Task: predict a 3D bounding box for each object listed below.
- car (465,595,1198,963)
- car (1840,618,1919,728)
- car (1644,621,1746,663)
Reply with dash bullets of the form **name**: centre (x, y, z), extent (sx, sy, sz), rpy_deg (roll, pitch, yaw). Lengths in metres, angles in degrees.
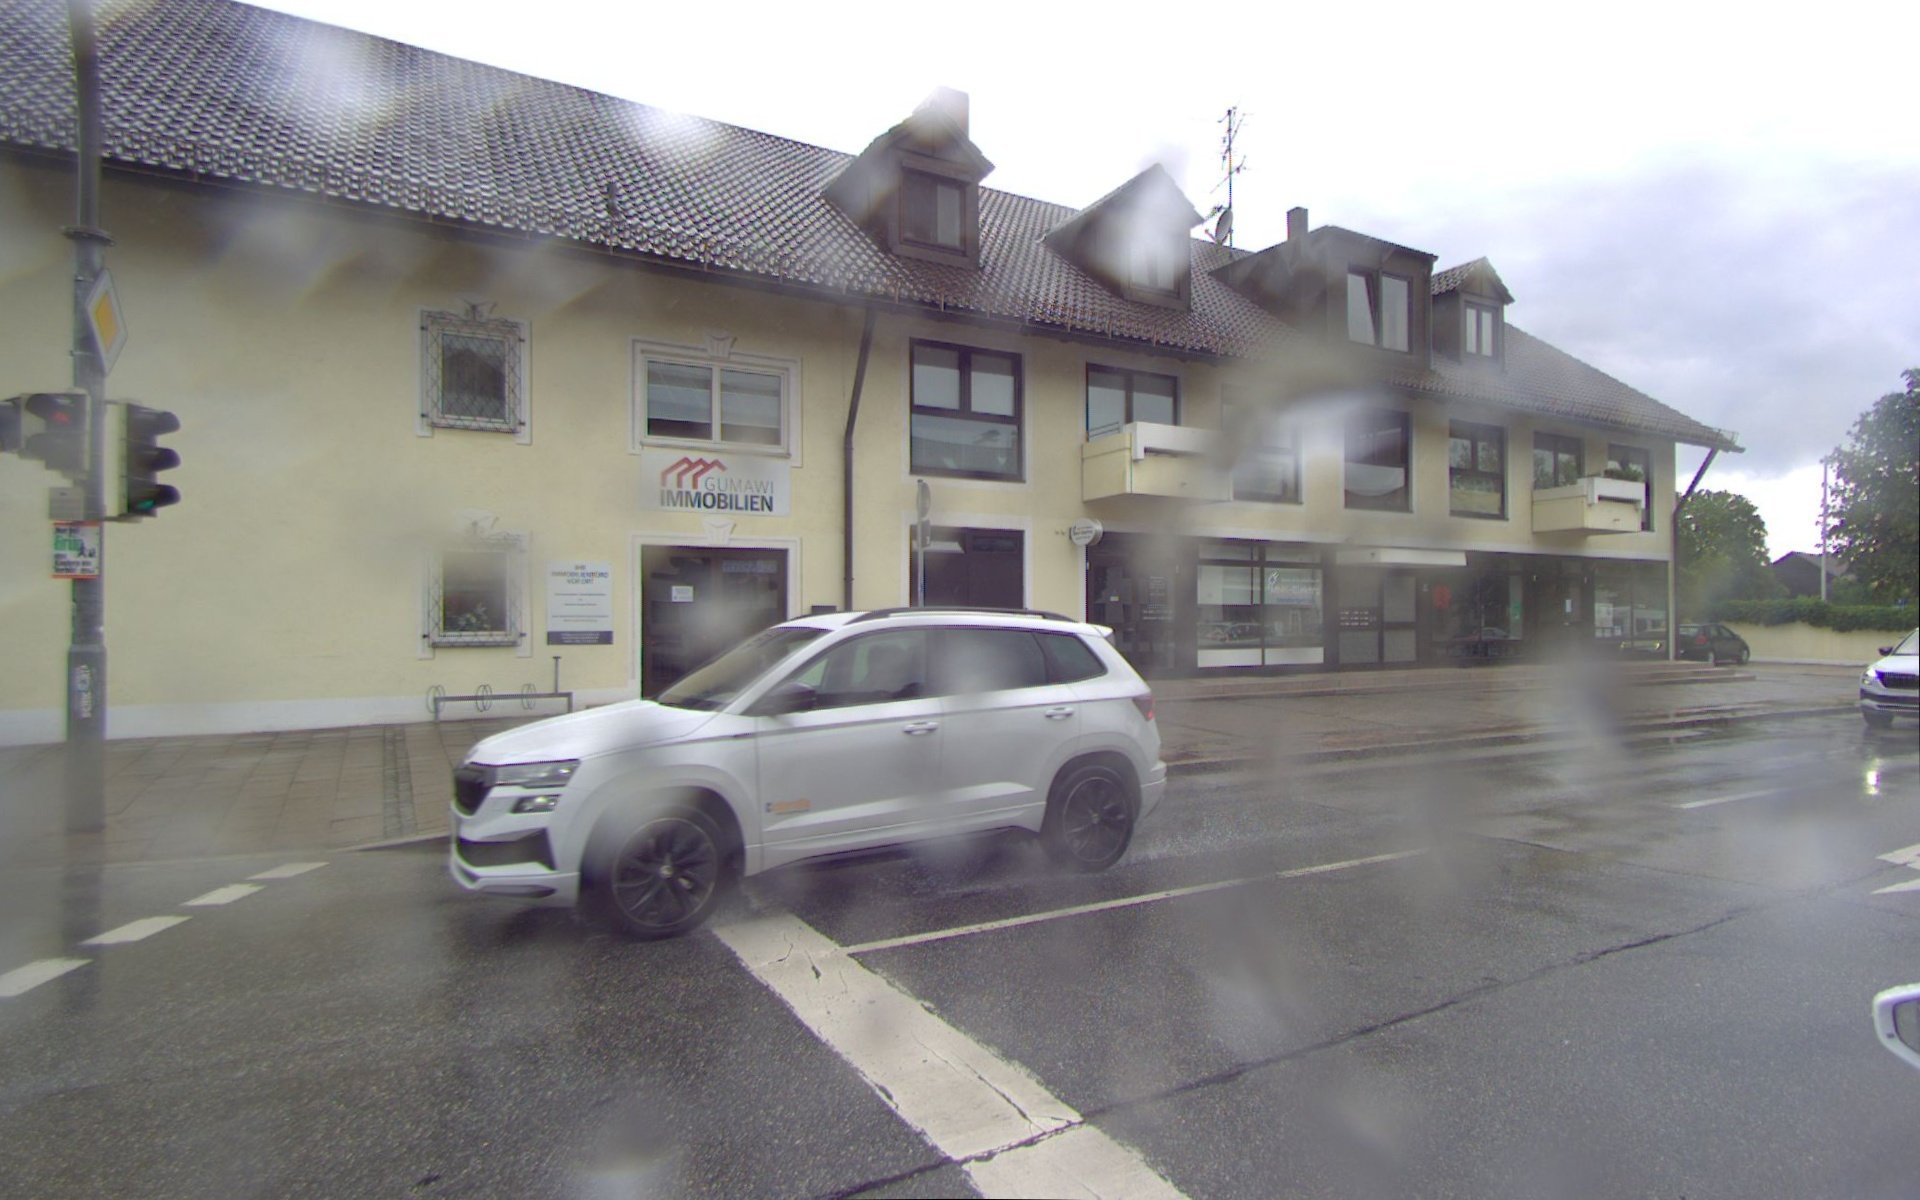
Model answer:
- **car**: centre (-0.720, 0.839, 6.244), extent (4.103, 1.583, 1.958), rpy_deg (1, -2, -31)
- **car**: centre (15.706, 1.092, 15.608), extent (4.079, 1.587, 1.917), rpy_deg (1, -2, -31)
- **car**: centre (25.344, 1.440, 34.645), extent (3.468, 1.398, 1.599), rpy_deg (1, -2, -31)
